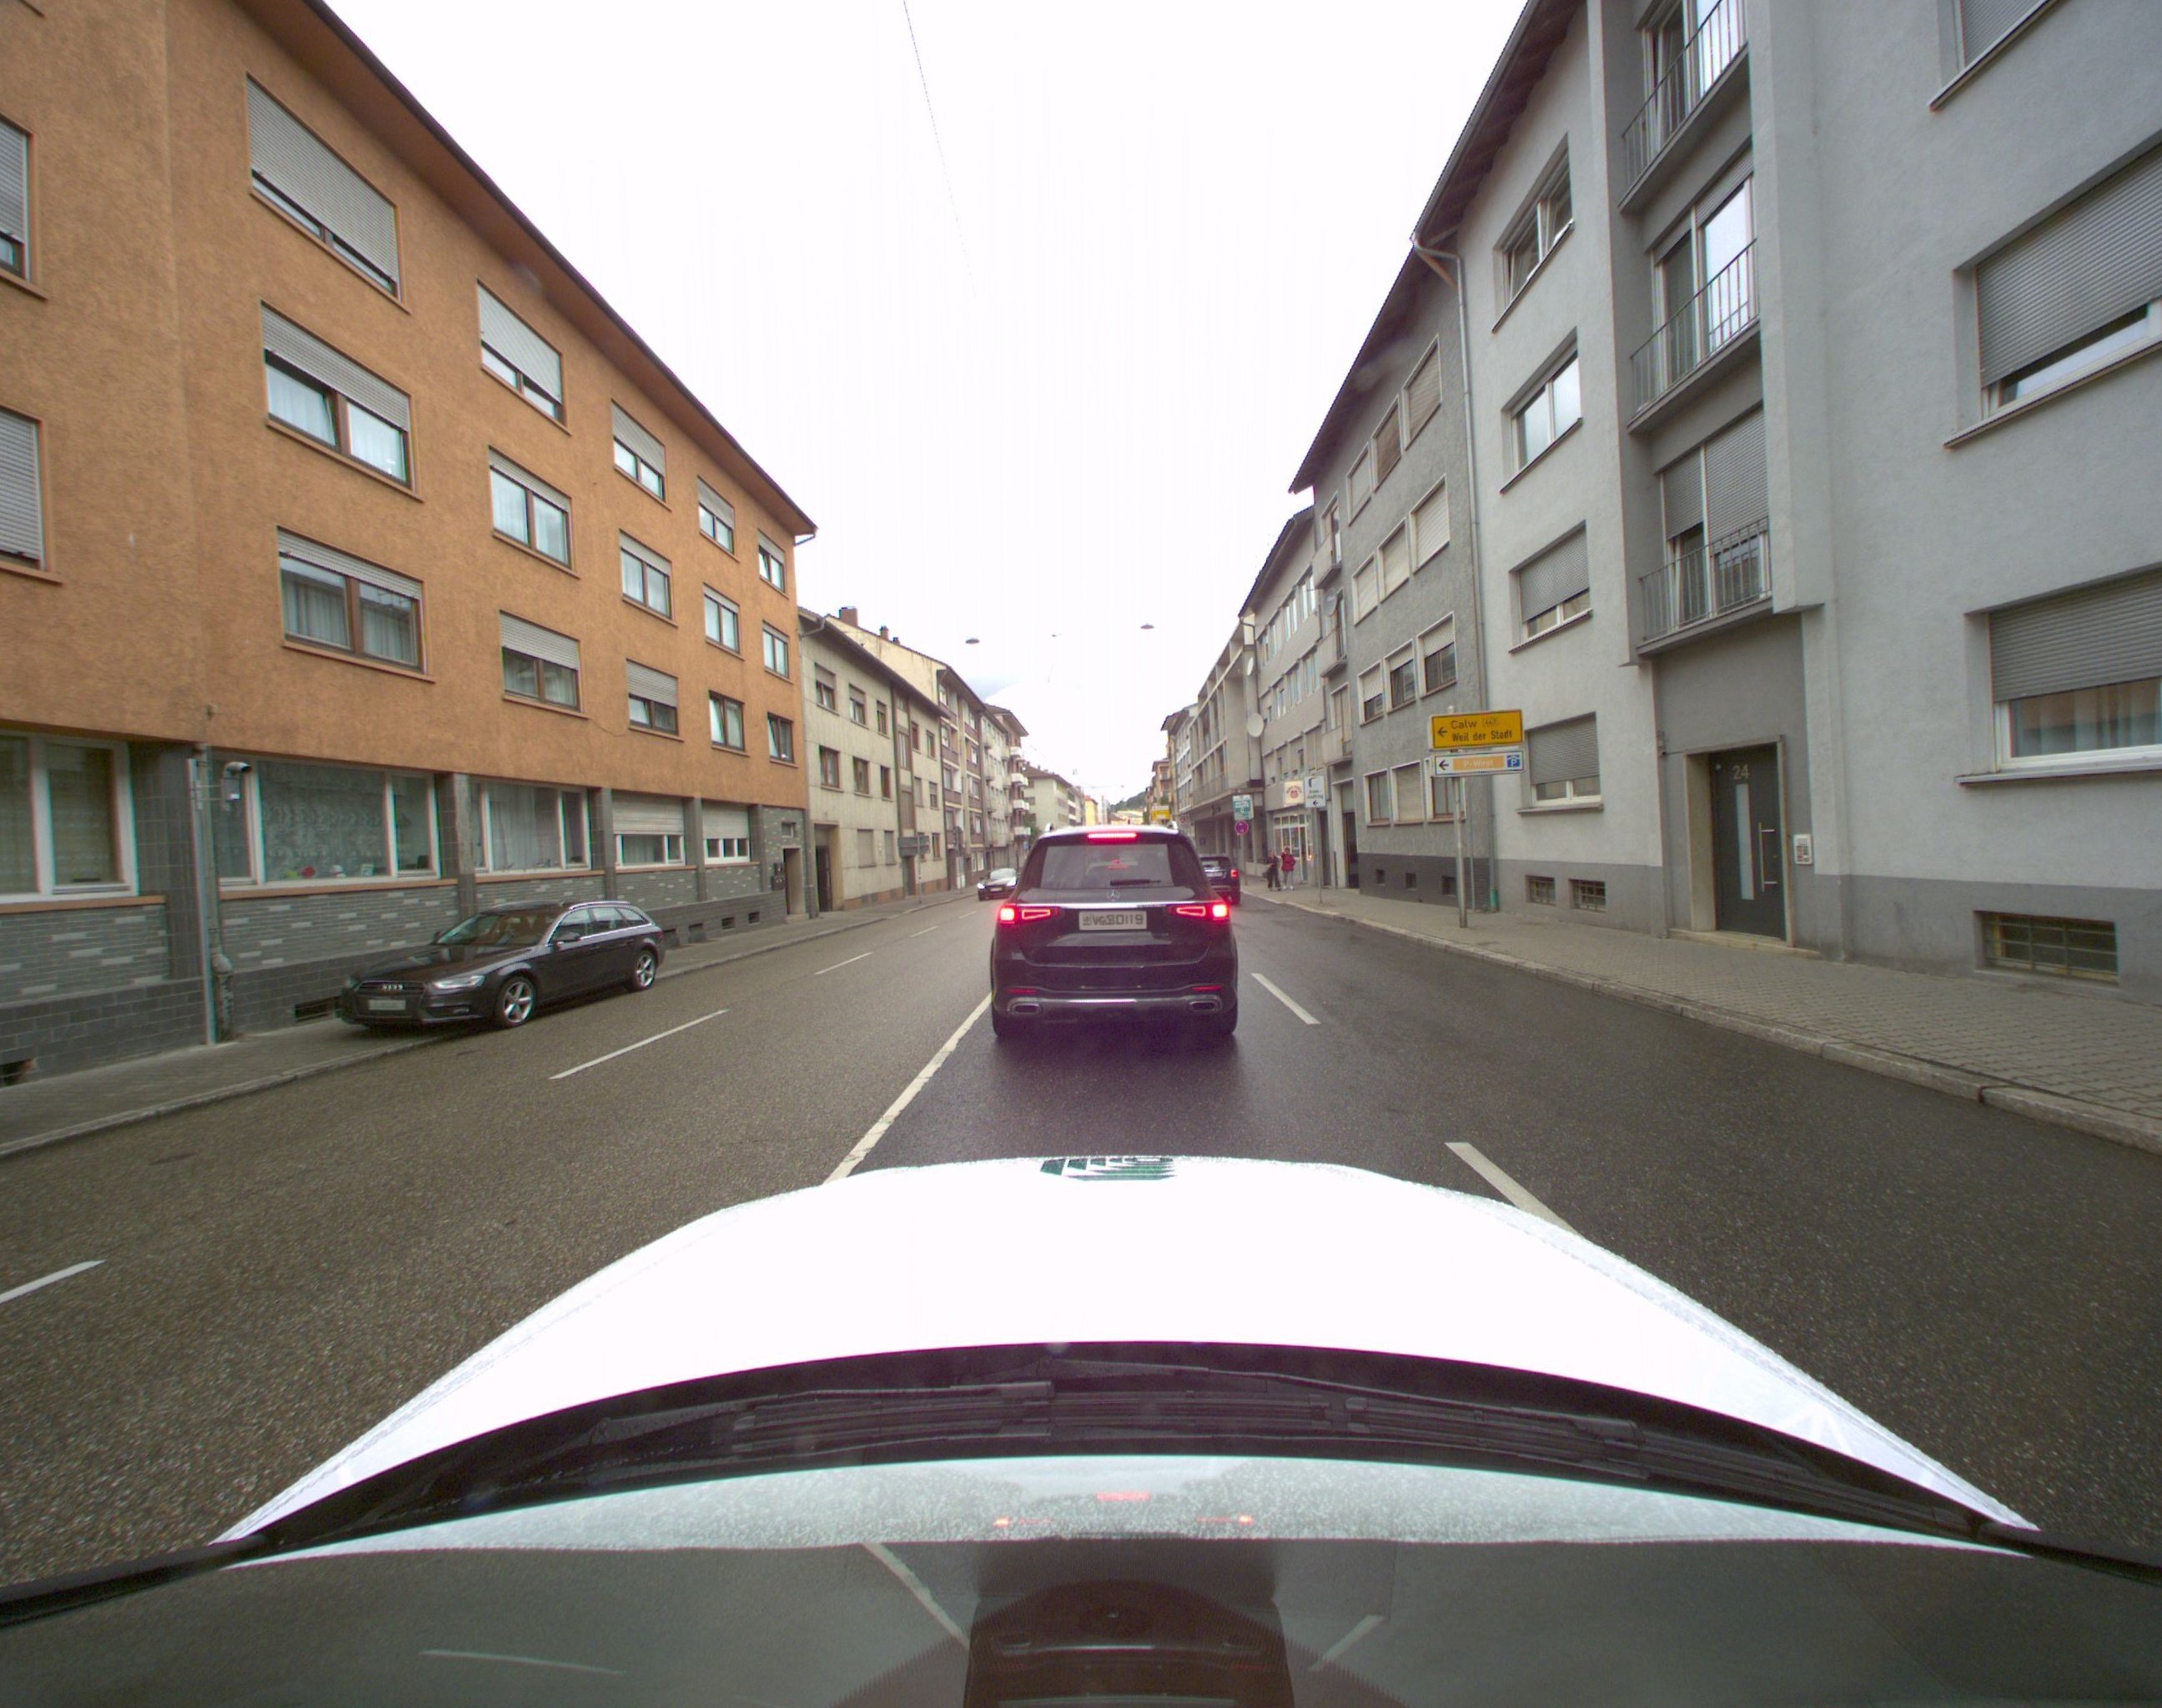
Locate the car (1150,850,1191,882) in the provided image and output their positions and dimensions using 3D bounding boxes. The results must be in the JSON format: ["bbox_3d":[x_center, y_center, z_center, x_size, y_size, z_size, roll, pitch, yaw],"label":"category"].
[{"bbox_3d":[5.218,0.667,47.999,1.933,1.775,4.746,-1,0,1],"label":"car"}]

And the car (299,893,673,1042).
[{"bbox_3d":[-7.745,1.371,11.309,1.789,1.438,4.528,0,0,1],"label":"car"}]

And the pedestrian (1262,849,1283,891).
[{"bbox_3d":[7.136,0.589,30.355,0.504,1.500,0.562,-5,0,1],"label":"pedestrian"}]

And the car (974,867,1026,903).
[{"bbox_3d":[-3.703,1.395,37.853,1.761,1.346,3.889,-6,0,1],"label":"car"}]

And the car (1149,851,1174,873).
[{"bbox_3d":[6.269,0.590,63.848,1.800,1.606,4.216,-1,0,4],"label":"car"}]

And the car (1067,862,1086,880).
[{"bbox_3d":[-0.428,1.750,85.496,1.727,1.575,4.012,-6,0,1],"label":"car"}]

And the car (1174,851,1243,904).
[{"bbox_3d":[4.196,0.730,27.286,1.760,1.580,4.002,-2,0,2],"label":"car"}]

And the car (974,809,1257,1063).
[{"bbox_3d":[0.292,0.592,7.833,2.018,1.806,4.001,0,0,1],"label":"car"}]

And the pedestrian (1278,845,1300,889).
[{"bbox_3d":[7.731,0.466,30.277,0.558,1.578,0.526,-5,0,1],"label":"pedestrian"}]

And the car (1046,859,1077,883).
[{"bbox_3d":[-1.222,1.112,53.740,1.718,1.390,4.341,-4,0,2],"label":"car"}]
